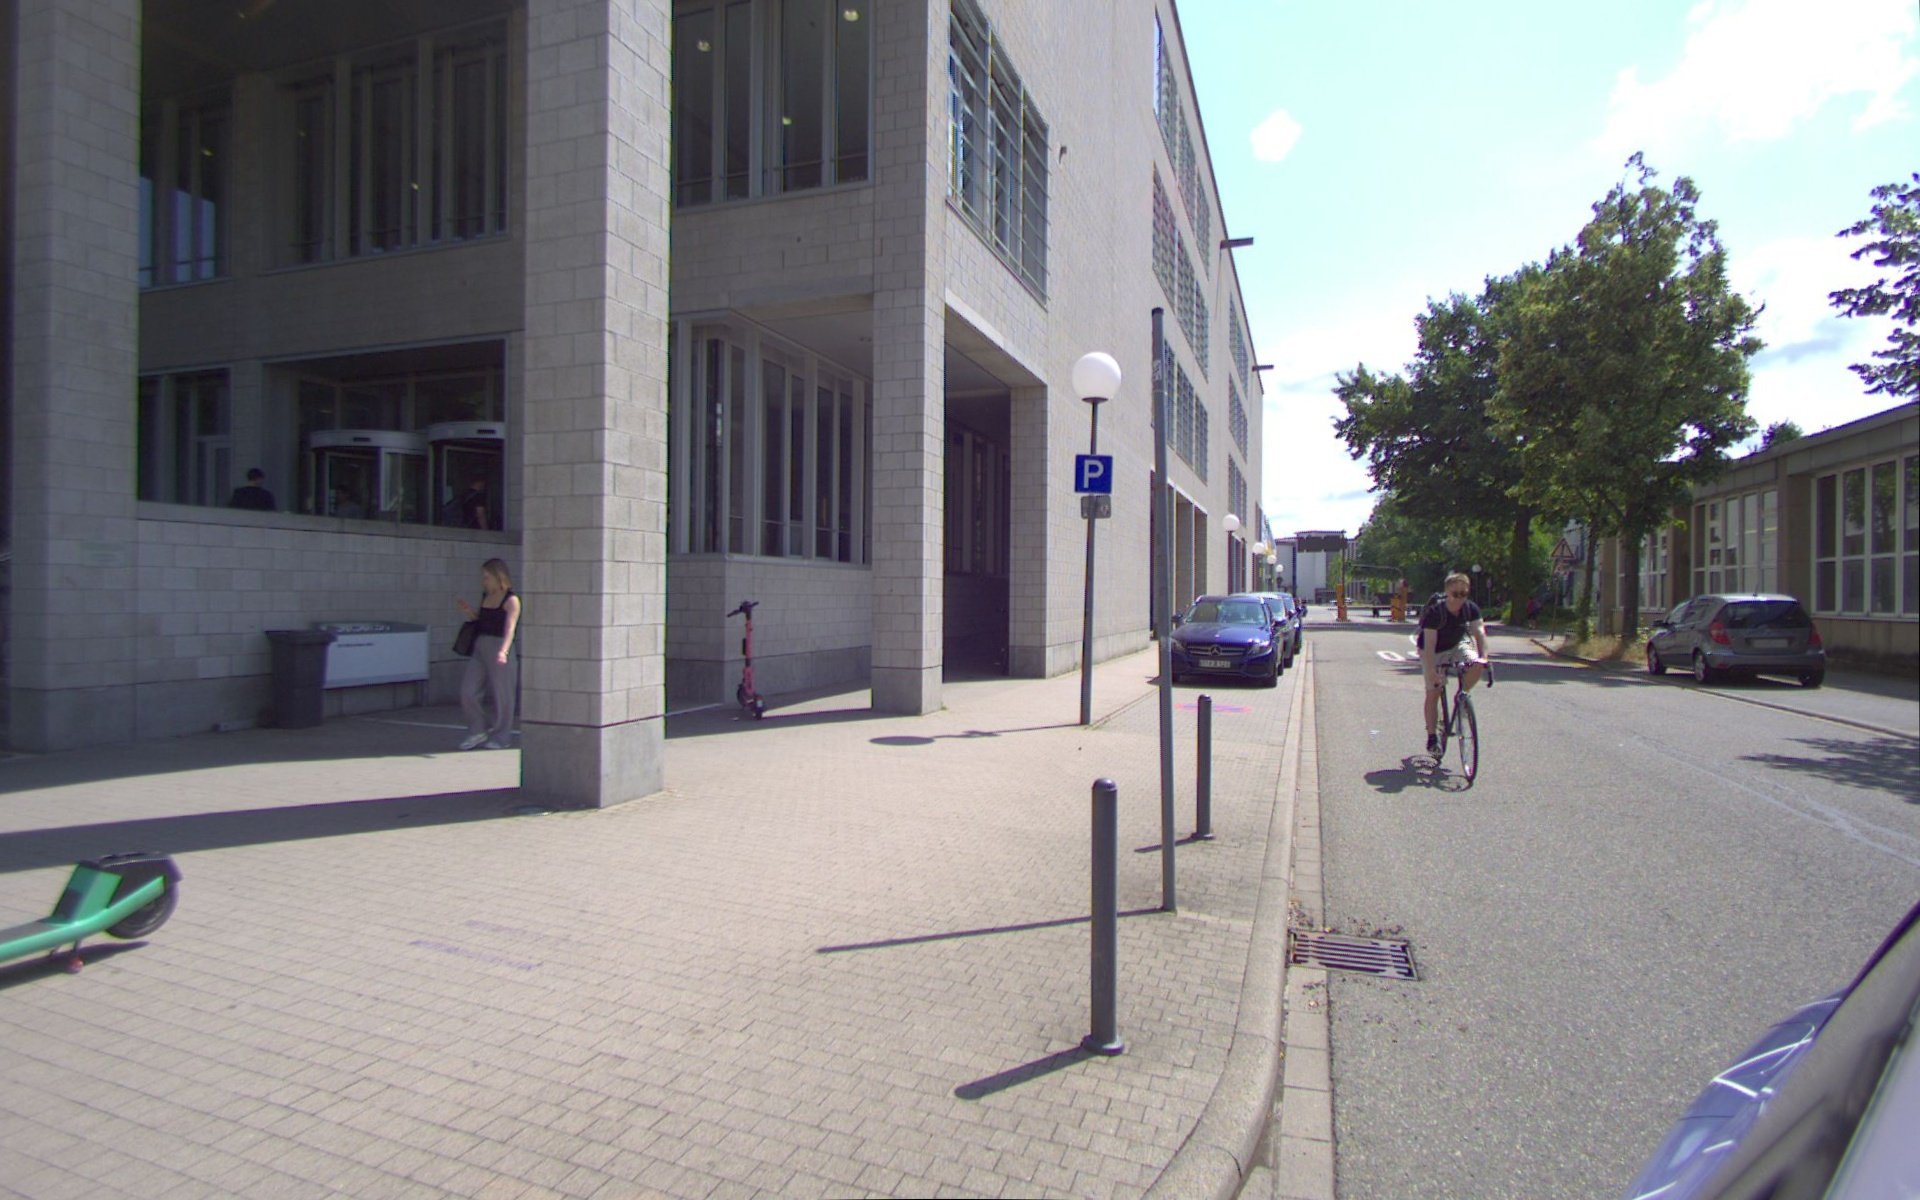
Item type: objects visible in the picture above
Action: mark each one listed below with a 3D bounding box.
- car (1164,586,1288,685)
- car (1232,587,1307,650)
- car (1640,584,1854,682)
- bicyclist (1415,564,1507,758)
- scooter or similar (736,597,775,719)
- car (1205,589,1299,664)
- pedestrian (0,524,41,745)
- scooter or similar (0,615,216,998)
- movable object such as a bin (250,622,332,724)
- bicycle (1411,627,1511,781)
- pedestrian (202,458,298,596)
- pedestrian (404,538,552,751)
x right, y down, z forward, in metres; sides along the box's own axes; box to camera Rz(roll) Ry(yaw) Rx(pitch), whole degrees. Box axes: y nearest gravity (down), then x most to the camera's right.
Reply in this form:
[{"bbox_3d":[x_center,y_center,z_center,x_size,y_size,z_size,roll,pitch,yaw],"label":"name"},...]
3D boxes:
[{"bbox_3d":[4.727,0.532,17.607,1.828,1.494,4.109,1,0,19],"label":"car"},{"bbox_3d":[8.624,0.460,28.082,1.828,1.601,4.109,1,0,19],"label":"car"},{"bbox_3d":[14.407,0.545,18.830,1.828,1.598,4.109,-1,0,19],"label":"car"},{"bbox_3d":[4.208,0.490,8.544,0.598,1.554,0.722,-1,-1,22],"label":"bicyclist"},{"bbox_3d":[-2.248,0.593,11.051,0.351,1.239,1.431,1,0,-13],"label":"scooter or similar"},{"bbox_3d":[6.603,0.517,22.652,1.828,1.494,4.109,1,0,19],"label":"car"},{"bbox_3d":[-8.205,0.280,8.387,0.578,1.826,0.686,1,0,-9],"label":"pedestrian"},{"bbox_3d":[-3.148,0.644,3.253,0.439,1.166,1.149,1,0,24],"label":"scooter or similar"},{"bbox_3d":[-6.426,0.692,9.733,0.541,0.950,0.373,0,-1,1],"label":"movable object such as a bin"},{"bbox_3d":[4.284,0.828,8.752,0.598,1.122,1.817,-1,0,21],"label":"bicycle"},{"bbox_3d":[-9.728,-0.979,13.880,0.872,1.826,0.698,1,0,22],"label":"pedestrian"},{"bbox_3d":[-4.012,0.354,8.483,0.692,1.676,0.879,1,-2,12],"label":"pedestrian"}]
